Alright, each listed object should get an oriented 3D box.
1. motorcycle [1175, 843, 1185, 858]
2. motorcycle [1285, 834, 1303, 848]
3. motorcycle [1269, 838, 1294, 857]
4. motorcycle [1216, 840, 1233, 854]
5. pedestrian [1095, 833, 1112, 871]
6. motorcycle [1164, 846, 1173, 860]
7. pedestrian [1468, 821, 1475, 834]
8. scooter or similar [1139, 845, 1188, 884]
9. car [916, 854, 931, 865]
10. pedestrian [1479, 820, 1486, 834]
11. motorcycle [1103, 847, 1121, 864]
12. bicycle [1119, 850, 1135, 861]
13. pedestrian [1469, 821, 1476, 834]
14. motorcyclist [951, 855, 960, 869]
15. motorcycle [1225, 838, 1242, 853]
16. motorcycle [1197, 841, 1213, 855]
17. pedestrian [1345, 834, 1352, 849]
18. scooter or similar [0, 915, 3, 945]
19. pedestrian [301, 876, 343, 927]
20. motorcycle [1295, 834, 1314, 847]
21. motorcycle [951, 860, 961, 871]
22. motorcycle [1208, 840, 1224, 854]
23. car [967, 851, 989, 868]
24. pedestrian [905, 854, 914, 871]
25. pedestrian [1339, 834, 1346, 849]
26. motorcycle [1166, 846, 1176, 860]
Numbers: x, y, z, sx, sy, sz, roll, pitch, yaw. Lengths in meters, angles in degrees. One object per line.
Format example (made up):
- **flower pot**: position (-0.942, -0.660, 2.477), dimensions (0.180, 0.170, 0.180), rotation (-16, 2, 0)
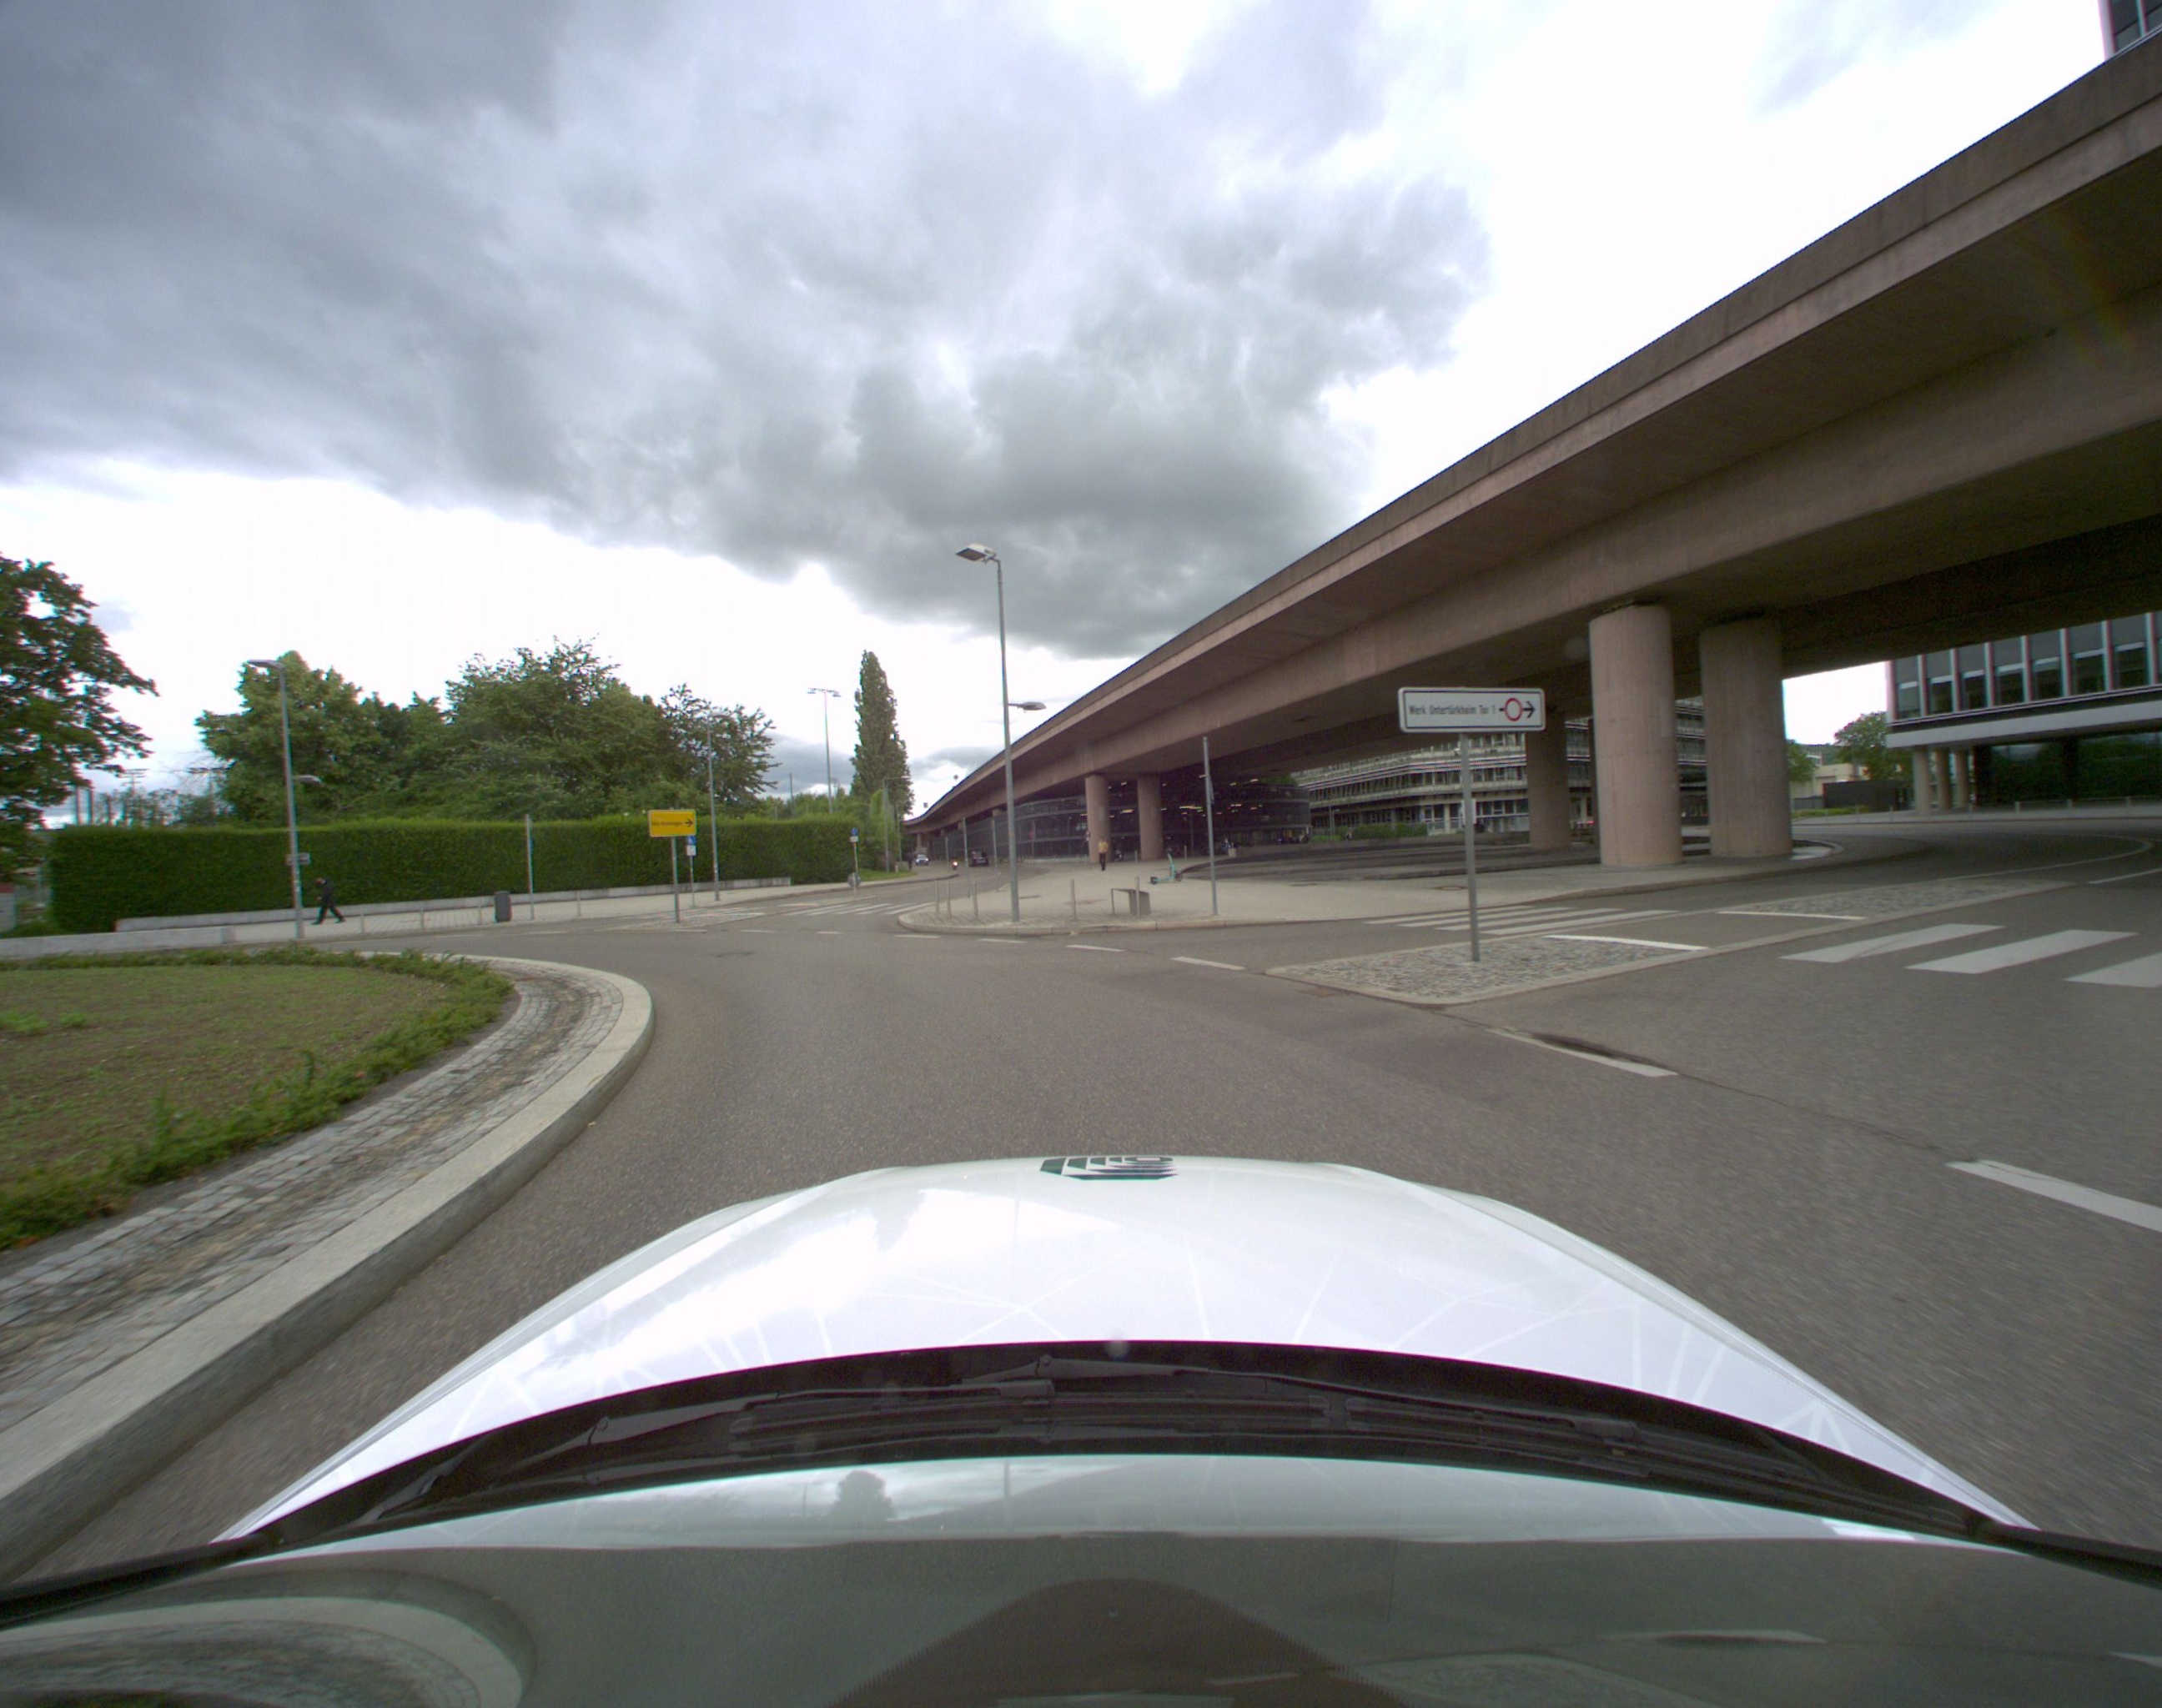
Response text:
- **motorcycle**: position (9.035, -0.337, 74.608), dimensions (0.825, 1.220, 2.083), rotation (-3, 1, 7)
- **motorcycle**: position (20.637, -1.252, 78.927), dimensions (0.673, 1.275, 2.352), rotation (-4, 2, -14)
- **motorcycle**: position (14.366, -0.492, 58.330), dimensions (1.950, 1.264, 0.542), rotation (-5, 2, -37)
- **motorcycle**: position (13.341, -0.684, 75.695), dimensions (0.673, 1.220, 2.069), rotation (-4, 2, -14)
- **pedestrian**: position (1.212, -0.118, 44.384), dimensions (0.780, 2.013, 1.039), rotation (-3, 1, -1)
- **motorcycle**: position (7.904, -0.090, 73.717), dimensions (0.516, 1.220, 1.155), rotation (-3, 1, 16)
- **pedestrian**: position (44.986, -3.095, 93.796), dimensions (0.490, 1.481, 0.548), rotation (-2, 2, 44)
- **scooter or similar**: position (2.985, 0.378, 29.455), dimensions (1.638, 1.295, 0.518), rotation (-3, 1, 0)
- **car**: position (-25.955, 0.919, 133.898), dimensions (1.869, 1.683, 4.380), rotation (-4, 2, -17)
- **pedestrian**: position (44.907, -3.003, 91.072), dimensions (0.490, 1.481, 0.548), rotation (-2, 2, 44)
- **motorcycle**: position (2.678, 0.138, 71.164), dimensions (0.646, 1.454, 1.745), rotation (-4, 2, -31)
- **bicycle**: position (4.367, 0.131, 76.976), dimensions (1.463, 0.976, 0.453), rotation (-3, 1, 11)
- **pedestrian**: position (44.067, -2.984, 91.568), dimensions (0.490, 1.481, 0.548), rotation (-2, 2, 44)
- **motorcyclist**: position (-13.080, 0.818, 85.079), dimensions (0.763, 1.419, 0.865), rotation (-4, 1, -16)
- **motorcycle**: position (14.208, -0.779, 75.958), dimensions (0.673, 1.285, 2.069), rotation (-4, 1, -14)
- **motorcycle**: position (11.503, -0.572, 75.383), dimensions (0.673, 1.220, 2.069), rotation (-4, 2, -14)
- **pedestrian**: position (35.533, -1.692, 108.107), dimensions (0.527, 2.013, 0.572), rotation (-3, 0, -7)
- **scooter or similar**: position (-37.756, 2.661, 27.838), dimensions (0.644, 1.109, 1.952), rotation (-5, 2, -42)
- **pedestrian**: position (-28.794, 1.784, 30.916), dimensions (0.868, 1.807, 0.786), rotation (-4, 1, -28)
- **motorcycle**: position (21.882, -1.350, 79.758), dimensions (0.673, 1.220, 2.352), rotation (-4, 2, -14)
- **motorcycle**: position (-13.079, 1.207, 85.122), dimensions (0.747, 1.022, 1.946), rotation (-4, 2, -15)
- **motorcycle**: position (12.526, -0.663, 75.463), dimensions (0.673, 1.220, 2.069), rotation (-4, 2, -14)
- **car**: position (-11.558, 0.614, 91.112), dimensions (1.843, 1.711, 3.687), rotation (-4, 2, -14)
- **pedestrian**: position (-18.513, 0.874, 88.072), dimensions (0.804, 1.780, 0.916), rotation (-4, 1, -12)
- **pedestrian**: position (34.837, -1.680, 108.489), dimensions (0.527, 2.013, 0.572), rotation (-3, 0, -7)
- **motorcycle**: position (7.851, -0.090, 71.186), dimensions (0.516, 1.171, 1.156), rotation (-3, -1, 21)
